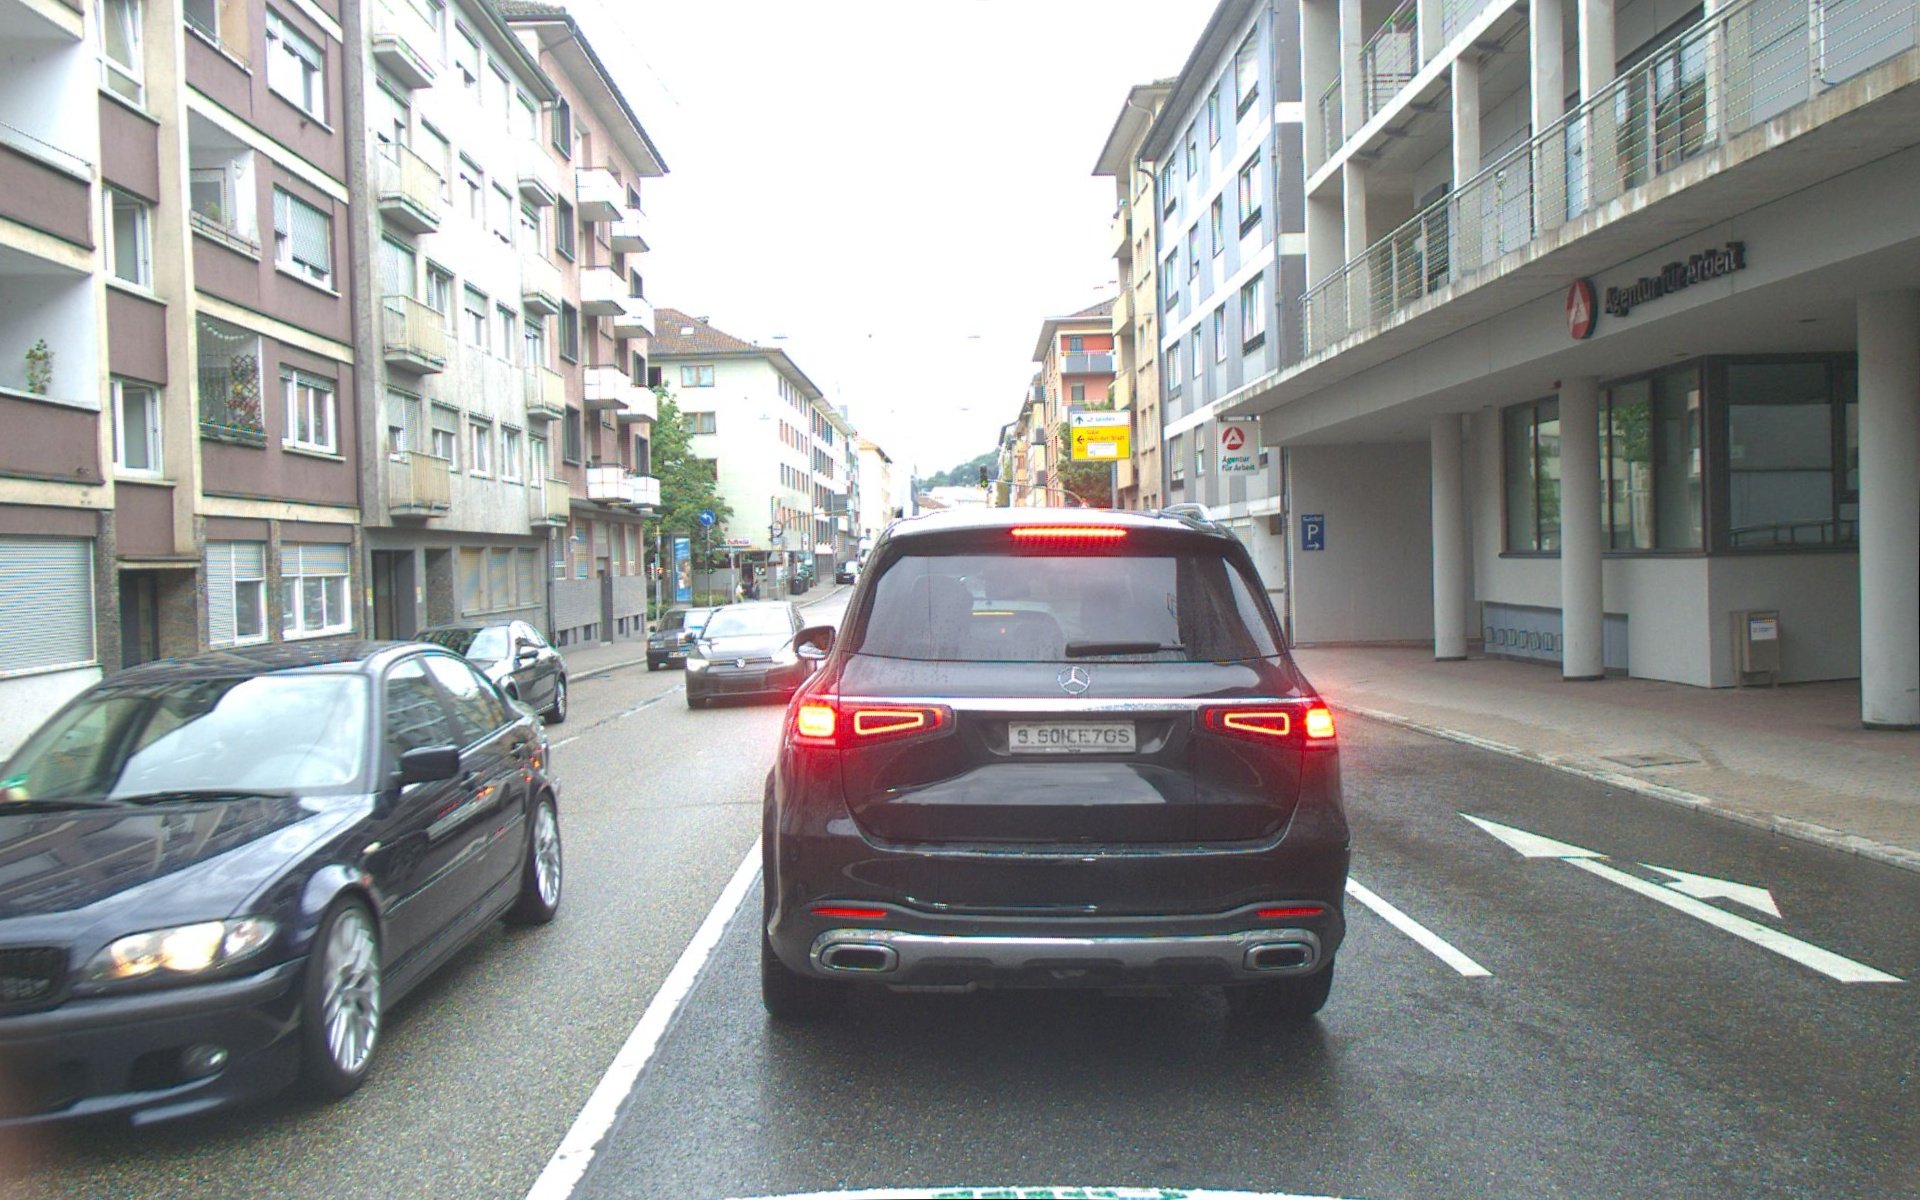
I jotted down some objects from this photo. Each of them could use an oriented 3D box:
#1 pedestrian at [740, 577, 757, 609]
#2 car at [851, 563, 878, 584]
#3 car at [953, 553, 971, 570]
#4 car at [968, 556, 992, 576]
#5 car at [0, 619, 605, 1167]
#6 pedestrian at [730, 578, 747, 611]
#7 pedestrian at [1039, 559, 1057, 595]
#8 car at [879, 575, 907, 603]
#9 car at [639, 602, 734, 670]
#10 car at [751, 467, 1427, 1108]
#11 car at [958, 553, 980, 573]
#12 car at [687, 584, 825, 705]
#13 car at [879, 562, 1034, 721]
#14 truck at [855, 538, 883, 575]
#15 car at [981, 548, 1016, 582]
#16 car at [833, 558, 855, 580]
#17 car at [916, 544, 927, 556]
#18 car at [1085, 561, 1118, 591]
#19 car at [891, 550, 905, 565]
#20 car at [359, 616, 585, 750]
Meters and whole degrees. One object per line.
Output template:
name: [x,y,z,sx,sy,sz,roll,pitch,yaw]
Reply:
pedestrian: [-13.017,-0.442,101.814,0.904,1.935,0.706,-2,0,-3]
car: [-6.891,-1.894,119.760,1.848,1.286,4.215,-3,0,-3]
car: [0.172,-4.039,172.828,1.586,1.566,4.215,-3,0,-3]
car: [1.606,-2.709,133.222,1.586,1.411,4.215,-3,0,-3]
car: [-2.705,0.830,6.492,1.660,1.394,4.217,-4,-1,0]
pedestrian: [-12.399,-0.318,92.549,0.622,1.795,0.774,-2,0,15]
pedestrian: [5.066,-1.325,94.863,0.904,2.049,0.706,-2,0,-3]
car: [-4.129,-0.644,101.165,1.586,1.566,4.215,-3,0,-3]
car: [-6.432,0.811,39.286,1.566,1.394,4.361,-4,0,-2]
car: [0.351,0.559,7.014,1.944,1.836,4.389,1,0,-1]
car: [0.775,-3.226,144.705,1.586,1.566,4.215,-3,0,-3]
car: [-3.054,0.655,25.487,1.661,1.608,4.216,-3,-1,-2]
car: [-0.135,0.481,20.822,1.716,1.762,4.215,-1,0,-3]
truck: [-8.597,-4.050,156.937,2.430,3.099,9.914,-3,0,-3]
car: [2.251,-2.031,97.710,1.689,1.790,4.215,-3,0,-3]
car: [-9.209,-2.483,131.485,1.586,1.566,4.215,-3,0,-3]
car: [-5.816,-7.570,250.167,1.586,1.566,4.215,-3,0,-3]
car: [8.093,-1.353,94.749,1.636,1.616,3.331,-2,1,1]
car: [-7.277,-4.939,193.600,1.586,1.566,4.215,-3,0,-3]
car: [-6.079,0.964,21.127,1.661,1.394,4.364,-4,0,-2]
